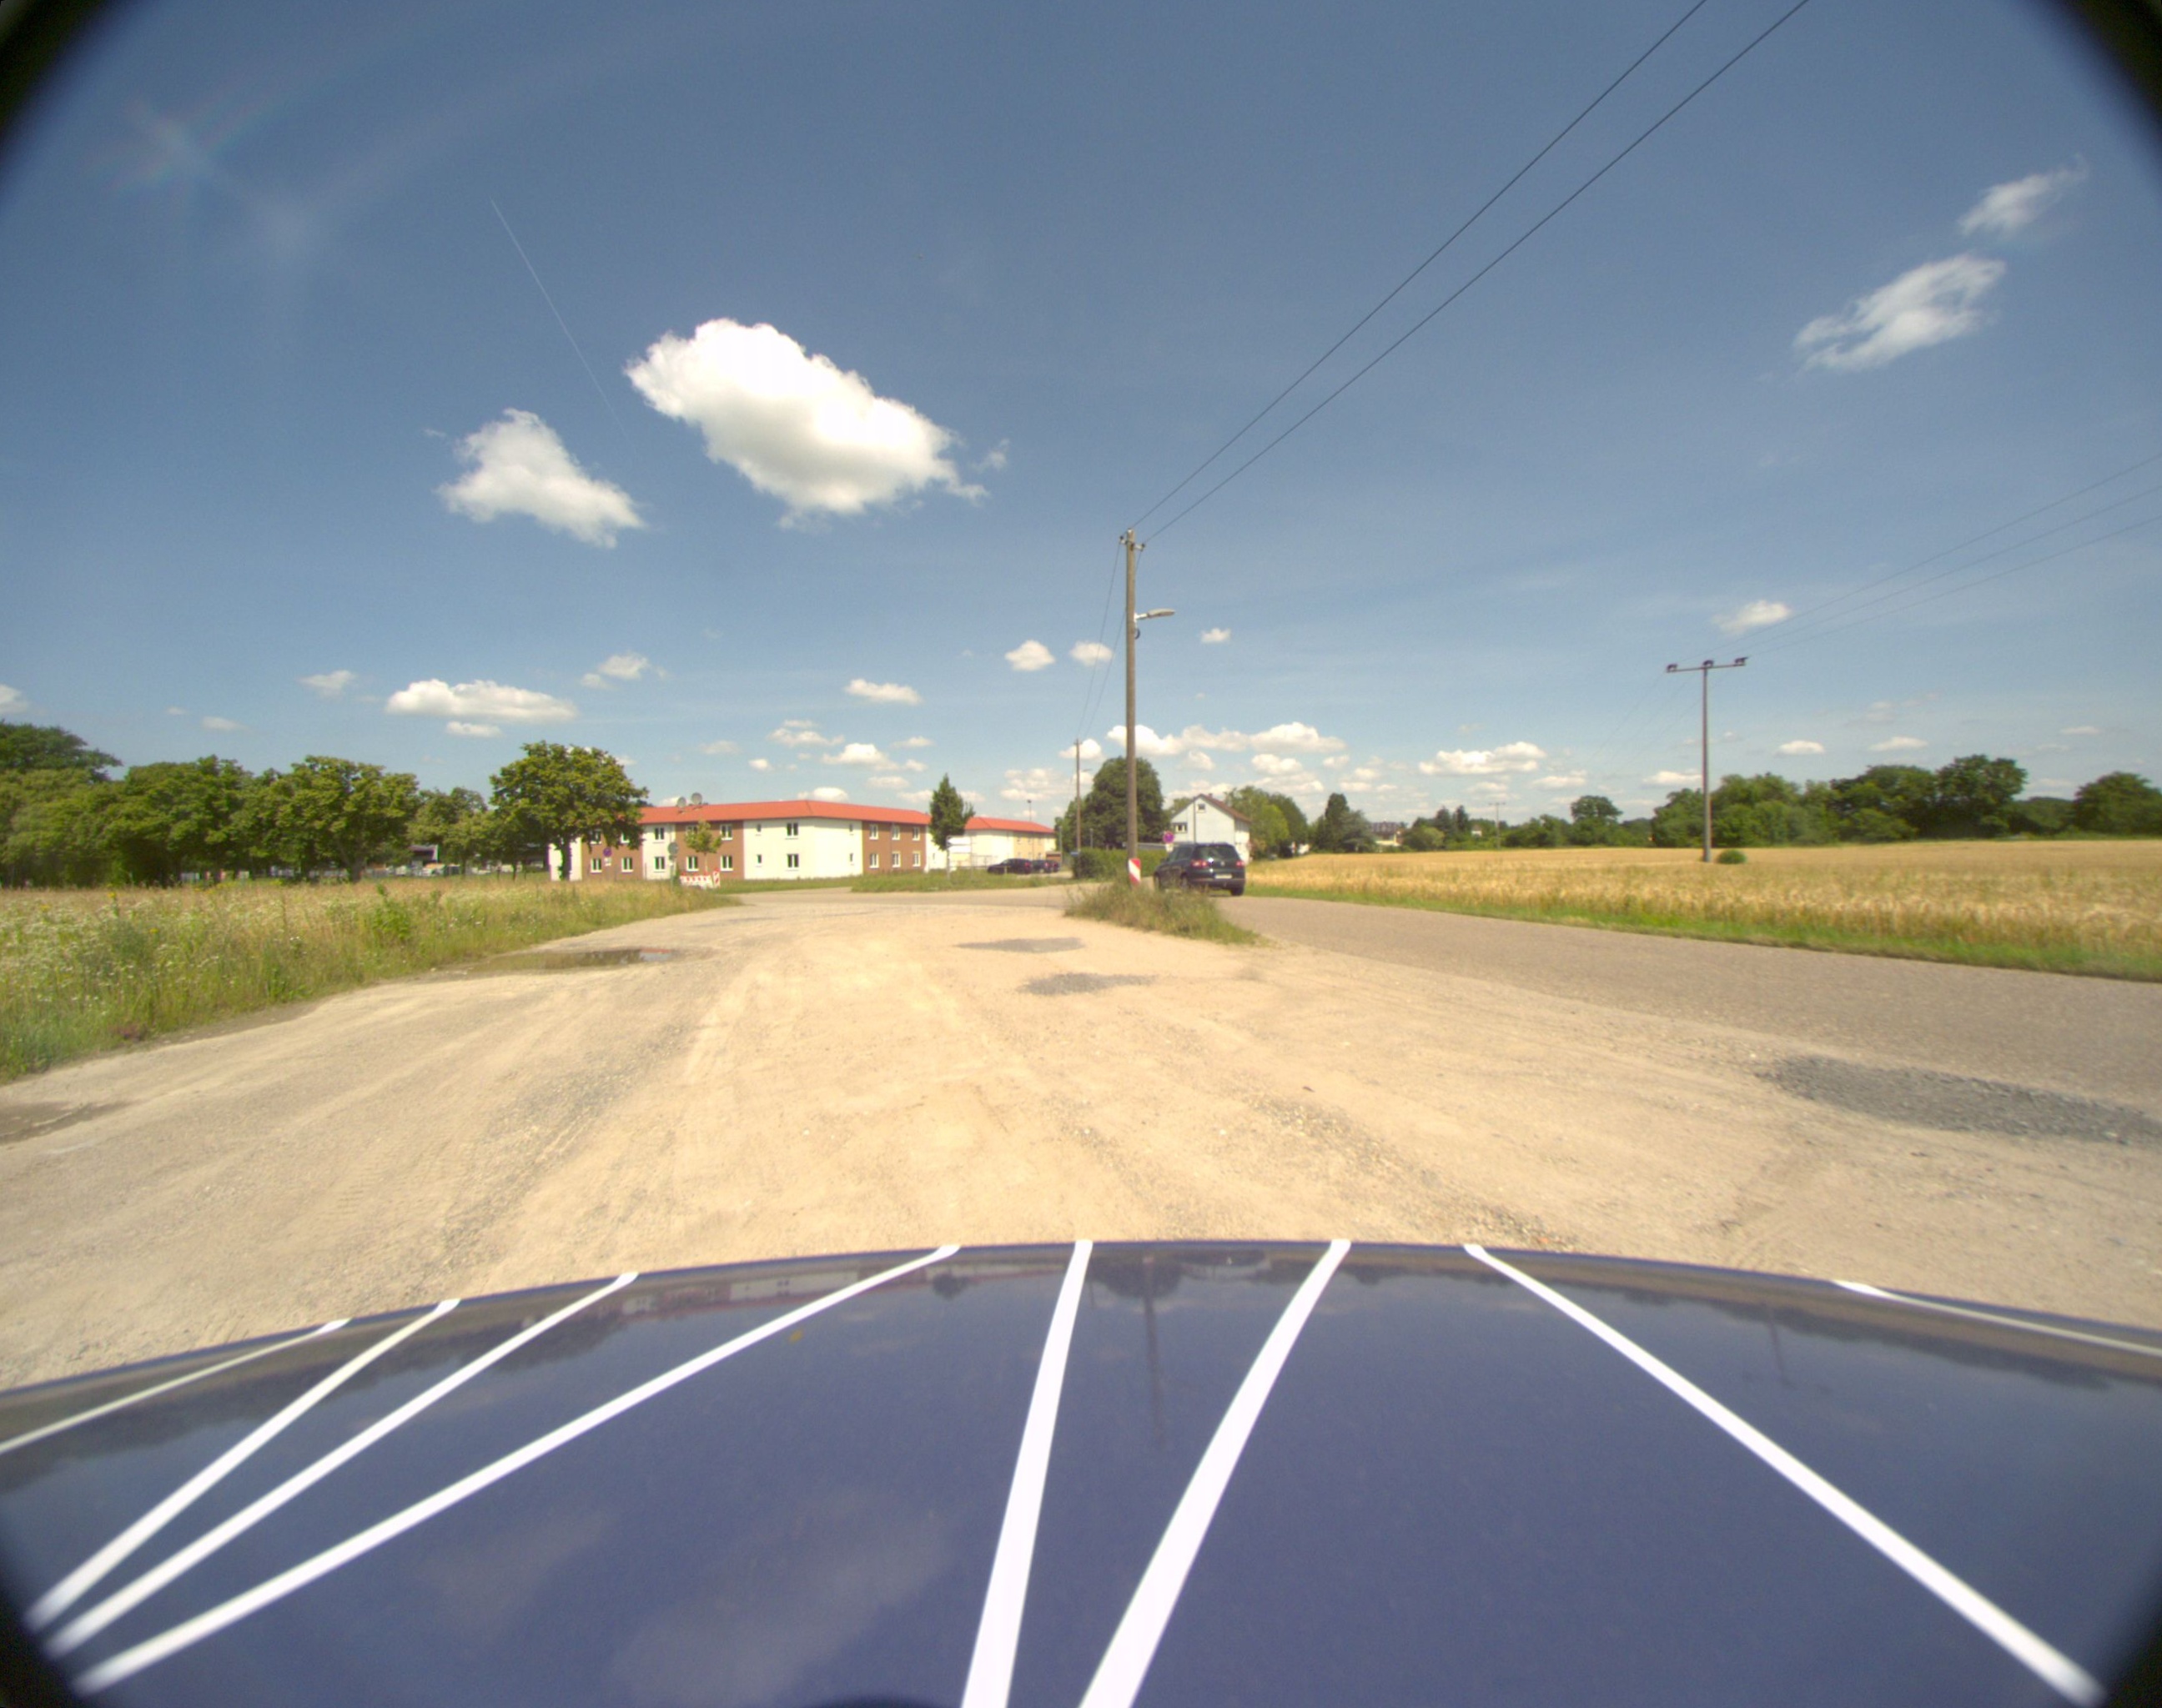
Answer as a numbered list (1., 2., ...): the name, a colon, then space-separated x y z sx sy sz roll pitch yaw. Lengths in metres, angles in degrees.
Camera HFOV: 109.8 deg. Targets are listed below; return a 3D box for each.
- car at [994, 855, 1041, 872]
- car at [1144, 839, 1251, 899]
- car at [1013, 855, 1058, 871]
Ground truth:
1. car: -6.229 0.966 74.870 4.140 1.605 2.003 -1 0 18
2. car: 3.542 0.421 23.927 1.750 1.669 4.249 -2 1 -15
3. car: -4.692 0.889 78.511 4.140 1.605 2.003 -1 0 18
